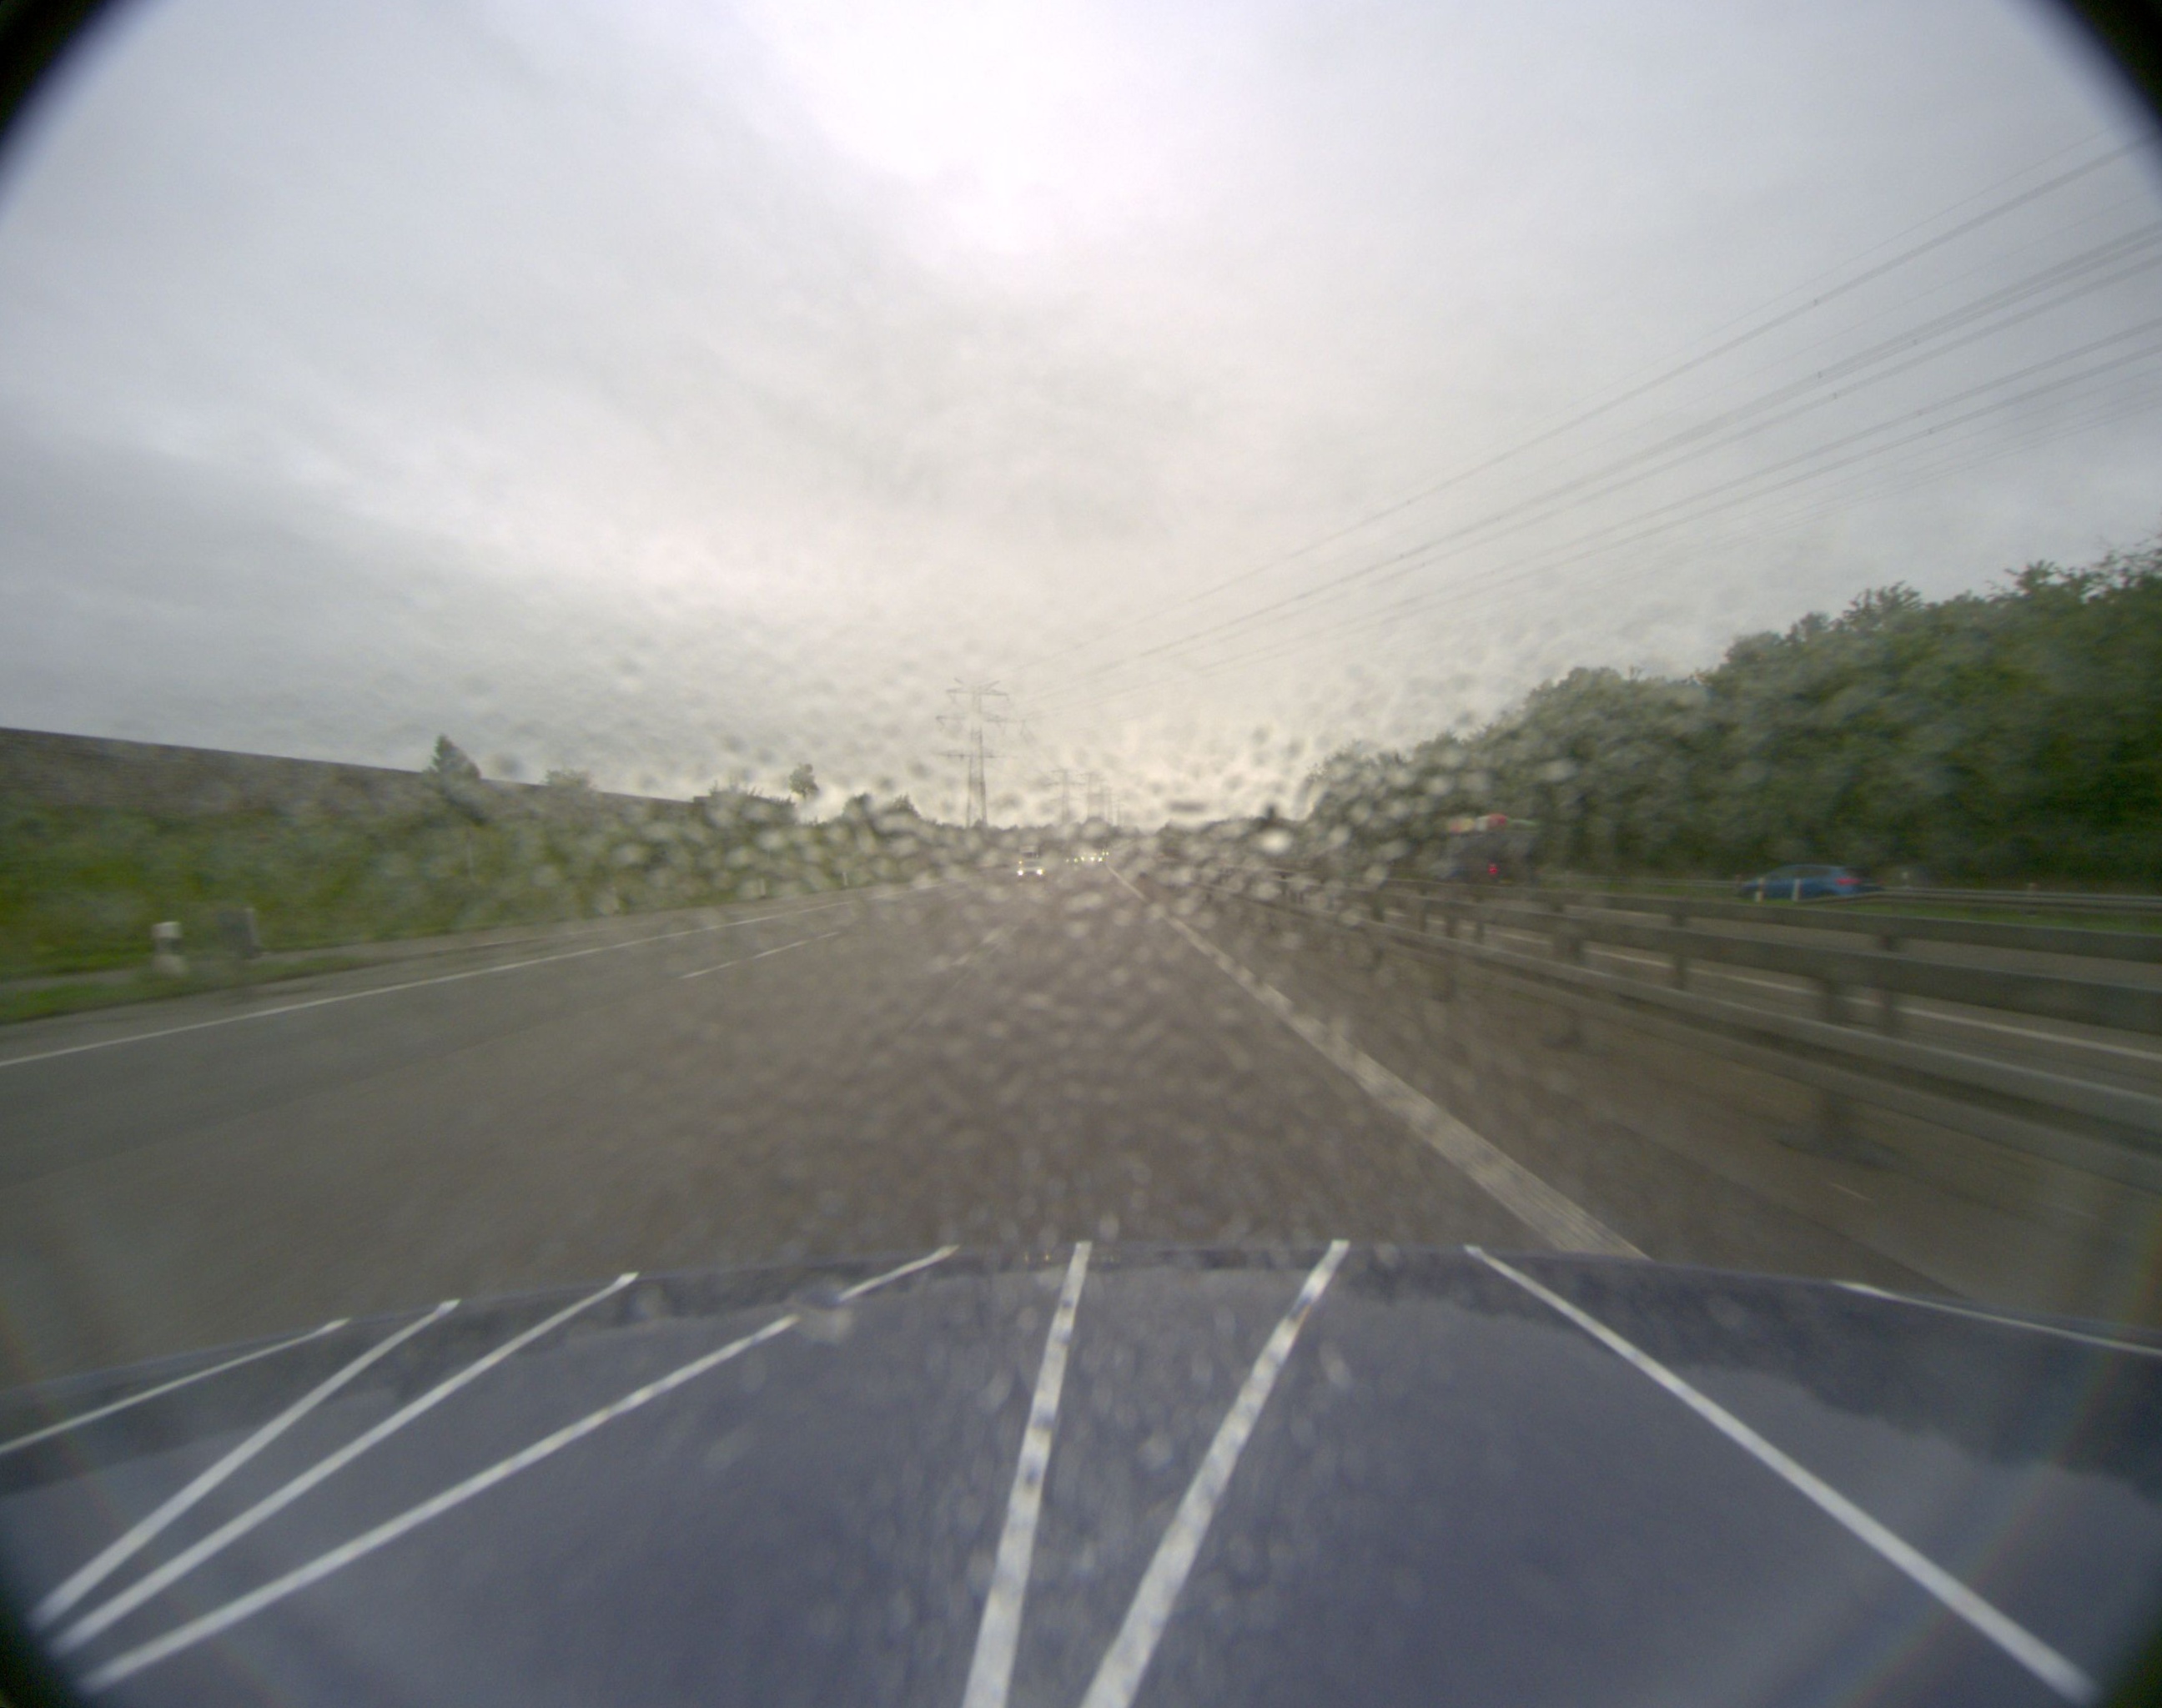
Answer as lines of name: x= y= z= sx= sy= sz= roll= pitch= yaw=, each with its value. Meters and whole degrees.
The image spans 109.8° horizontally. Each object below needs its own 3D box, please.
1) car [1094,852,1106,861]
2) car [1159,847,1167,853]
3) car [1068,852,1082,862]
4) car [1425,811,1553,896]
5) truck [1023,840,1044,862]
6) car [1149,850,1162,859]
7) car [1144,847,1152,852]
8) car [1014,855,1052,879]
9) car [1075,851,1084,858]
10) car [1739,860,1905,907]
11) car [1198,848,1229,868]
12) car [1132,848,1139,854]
car: x=3.468 y=0.423 z=139.173 sx=1.998 sy=1.419 sz=4.000 roll=-2 pitch=1 yaw=3
car: x=25.478 y=-1.305 z=237.242 sx=1.954 sy=1.808 sz=4.916 roll=0 pitch=0 yaw=1
car: x=-0.945 y=0.488 z=121.621 sx=1.998 sy=1.419 sz=4.000 roll=-2 pitch=1 yaw=3
car: x=17.306 y=-0.054 z=32.749 sx=2.259 sy=3.308 sz=6.175 roll=0 pitch=0 yaw=1
truck: x=-7.777 y=-0.533 z=125.493 sx=2.648 sy=3.325 sz=6.931 roll=-2 pitch=1 yaw=3
car: x=12.684 y=0.066 z=130.242 sx=1.826 sy=1.503 sz=4.790 roll=0 pitch=0 yaw=1
car: x=20.488 y=-1.305 z=232.115 sx=1.909 sy=1.655 sz=4.714 roll=0 pitch=1 yaw=1
car: x=-3.164 y=0.826 z=51.041 sx=1.998 sy=1.419 sz=4.000 roll=-2 pitch=1 yaw=3
car: x=-0.313 y=0.127 z=163.677 sx=1.856 sy=1.419 sz=4.000 roll=-2 pitch=1 yaw=3
car: x=27.096 y=1.028 z=27.987 sx=1.974 sy=1.534 sz=3.996 roll=0 pitch=0 yaw=-9
car: x=11.385 y=0.336 z=65.569 sx=1.928 sy=1.646 sz=4.790 roll=0 pitch=0 yaw=1
car: x=15.818 y=-0.872 z=219.615 sx=1.761 sy=1.453 sz=4.762 roll=1 pitch=1 yaw=1
